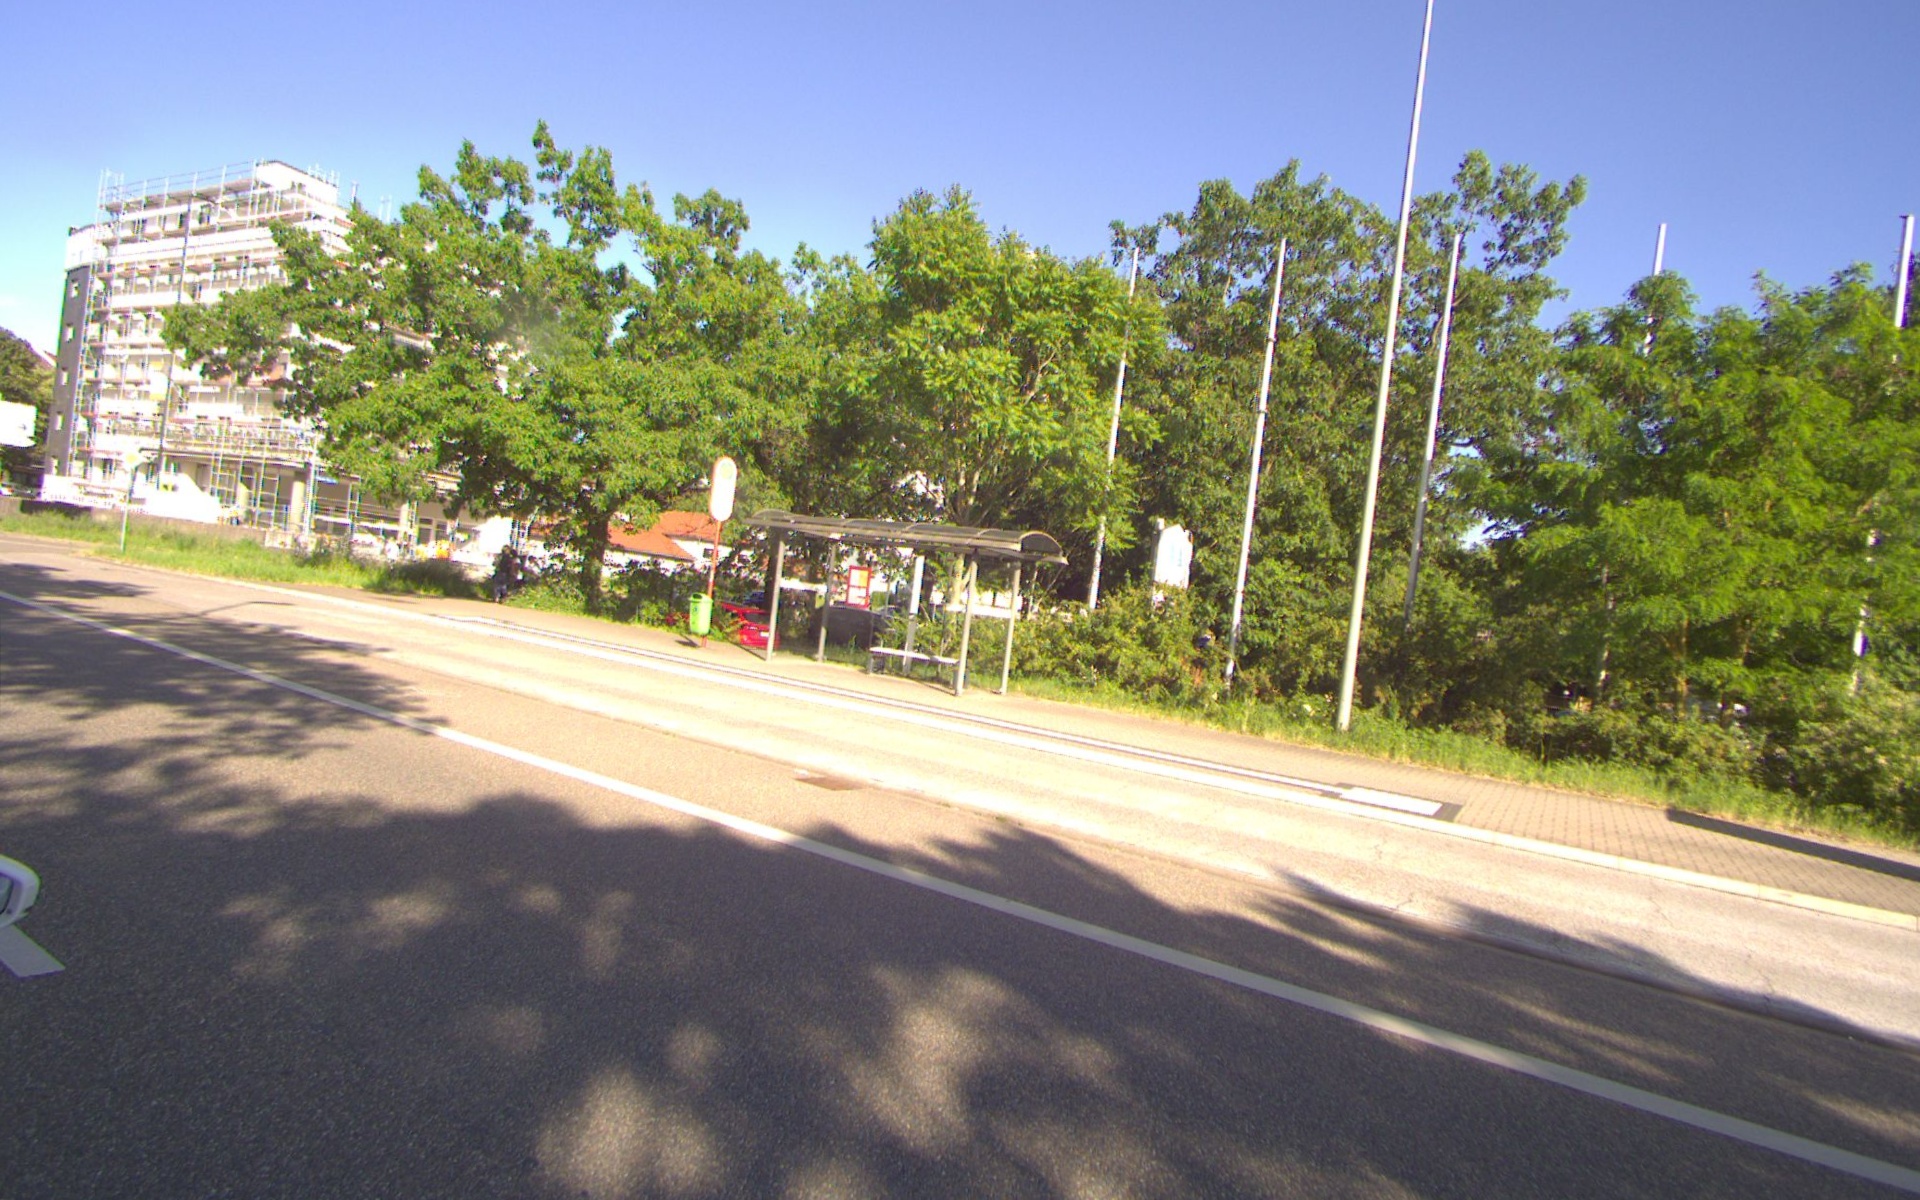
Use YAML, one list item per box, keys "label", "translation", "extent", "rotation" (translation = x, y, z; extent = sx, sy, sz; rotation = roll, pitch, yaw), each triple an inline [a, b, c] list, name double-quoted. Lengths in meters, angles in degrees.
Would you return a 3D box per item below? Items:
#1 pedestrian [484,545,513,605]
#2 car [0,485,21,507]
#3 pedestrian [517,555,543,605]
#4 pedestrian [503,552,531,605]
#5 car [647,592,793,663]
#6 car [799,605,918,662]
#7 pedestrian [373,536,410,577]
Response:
- label: "pedestrian"
  translation: [-13.019, -0.703, 28.367]
  extent: [0.517, 1.632, 0.587]
  rotation: [7, 1, -32]
- label: "car"
  translation: [-66.548, -7.272, 69.991]
  extent: [1.521, 1.330, 3.250]
  rotation: [7, 0, -40]
- label: "pedestrian"
  translation: [-13.400, -0.633, 31.325]
  extent: [0.517, 1.465, 0.587]
  rotation: [7, 1, -32]
- label: "pedestrian"
  translation: [-12.769, -0.626, 28.992]
  extent: [0.517, 1.465, 0.587]
  rotation: [7, 1, -32]
- label: "car"
  translation: [-6.872, 0.794, 28.743]
  extent: [3.680, 1.504, 1.755]
  rotation: [7, 0, 28]
- label: "car"
  translation: [-3.588, 1.202, 35.977]
  extent: [3.674, 1.504, 1.914]
  rotation: [7, 0, 13]
- label: "pedestrian"
  translation: [-25.705, -1.945, 45.485]
  extent: [0.969, 1.674, 0.891]
  rotation: [7, 0, 2]
